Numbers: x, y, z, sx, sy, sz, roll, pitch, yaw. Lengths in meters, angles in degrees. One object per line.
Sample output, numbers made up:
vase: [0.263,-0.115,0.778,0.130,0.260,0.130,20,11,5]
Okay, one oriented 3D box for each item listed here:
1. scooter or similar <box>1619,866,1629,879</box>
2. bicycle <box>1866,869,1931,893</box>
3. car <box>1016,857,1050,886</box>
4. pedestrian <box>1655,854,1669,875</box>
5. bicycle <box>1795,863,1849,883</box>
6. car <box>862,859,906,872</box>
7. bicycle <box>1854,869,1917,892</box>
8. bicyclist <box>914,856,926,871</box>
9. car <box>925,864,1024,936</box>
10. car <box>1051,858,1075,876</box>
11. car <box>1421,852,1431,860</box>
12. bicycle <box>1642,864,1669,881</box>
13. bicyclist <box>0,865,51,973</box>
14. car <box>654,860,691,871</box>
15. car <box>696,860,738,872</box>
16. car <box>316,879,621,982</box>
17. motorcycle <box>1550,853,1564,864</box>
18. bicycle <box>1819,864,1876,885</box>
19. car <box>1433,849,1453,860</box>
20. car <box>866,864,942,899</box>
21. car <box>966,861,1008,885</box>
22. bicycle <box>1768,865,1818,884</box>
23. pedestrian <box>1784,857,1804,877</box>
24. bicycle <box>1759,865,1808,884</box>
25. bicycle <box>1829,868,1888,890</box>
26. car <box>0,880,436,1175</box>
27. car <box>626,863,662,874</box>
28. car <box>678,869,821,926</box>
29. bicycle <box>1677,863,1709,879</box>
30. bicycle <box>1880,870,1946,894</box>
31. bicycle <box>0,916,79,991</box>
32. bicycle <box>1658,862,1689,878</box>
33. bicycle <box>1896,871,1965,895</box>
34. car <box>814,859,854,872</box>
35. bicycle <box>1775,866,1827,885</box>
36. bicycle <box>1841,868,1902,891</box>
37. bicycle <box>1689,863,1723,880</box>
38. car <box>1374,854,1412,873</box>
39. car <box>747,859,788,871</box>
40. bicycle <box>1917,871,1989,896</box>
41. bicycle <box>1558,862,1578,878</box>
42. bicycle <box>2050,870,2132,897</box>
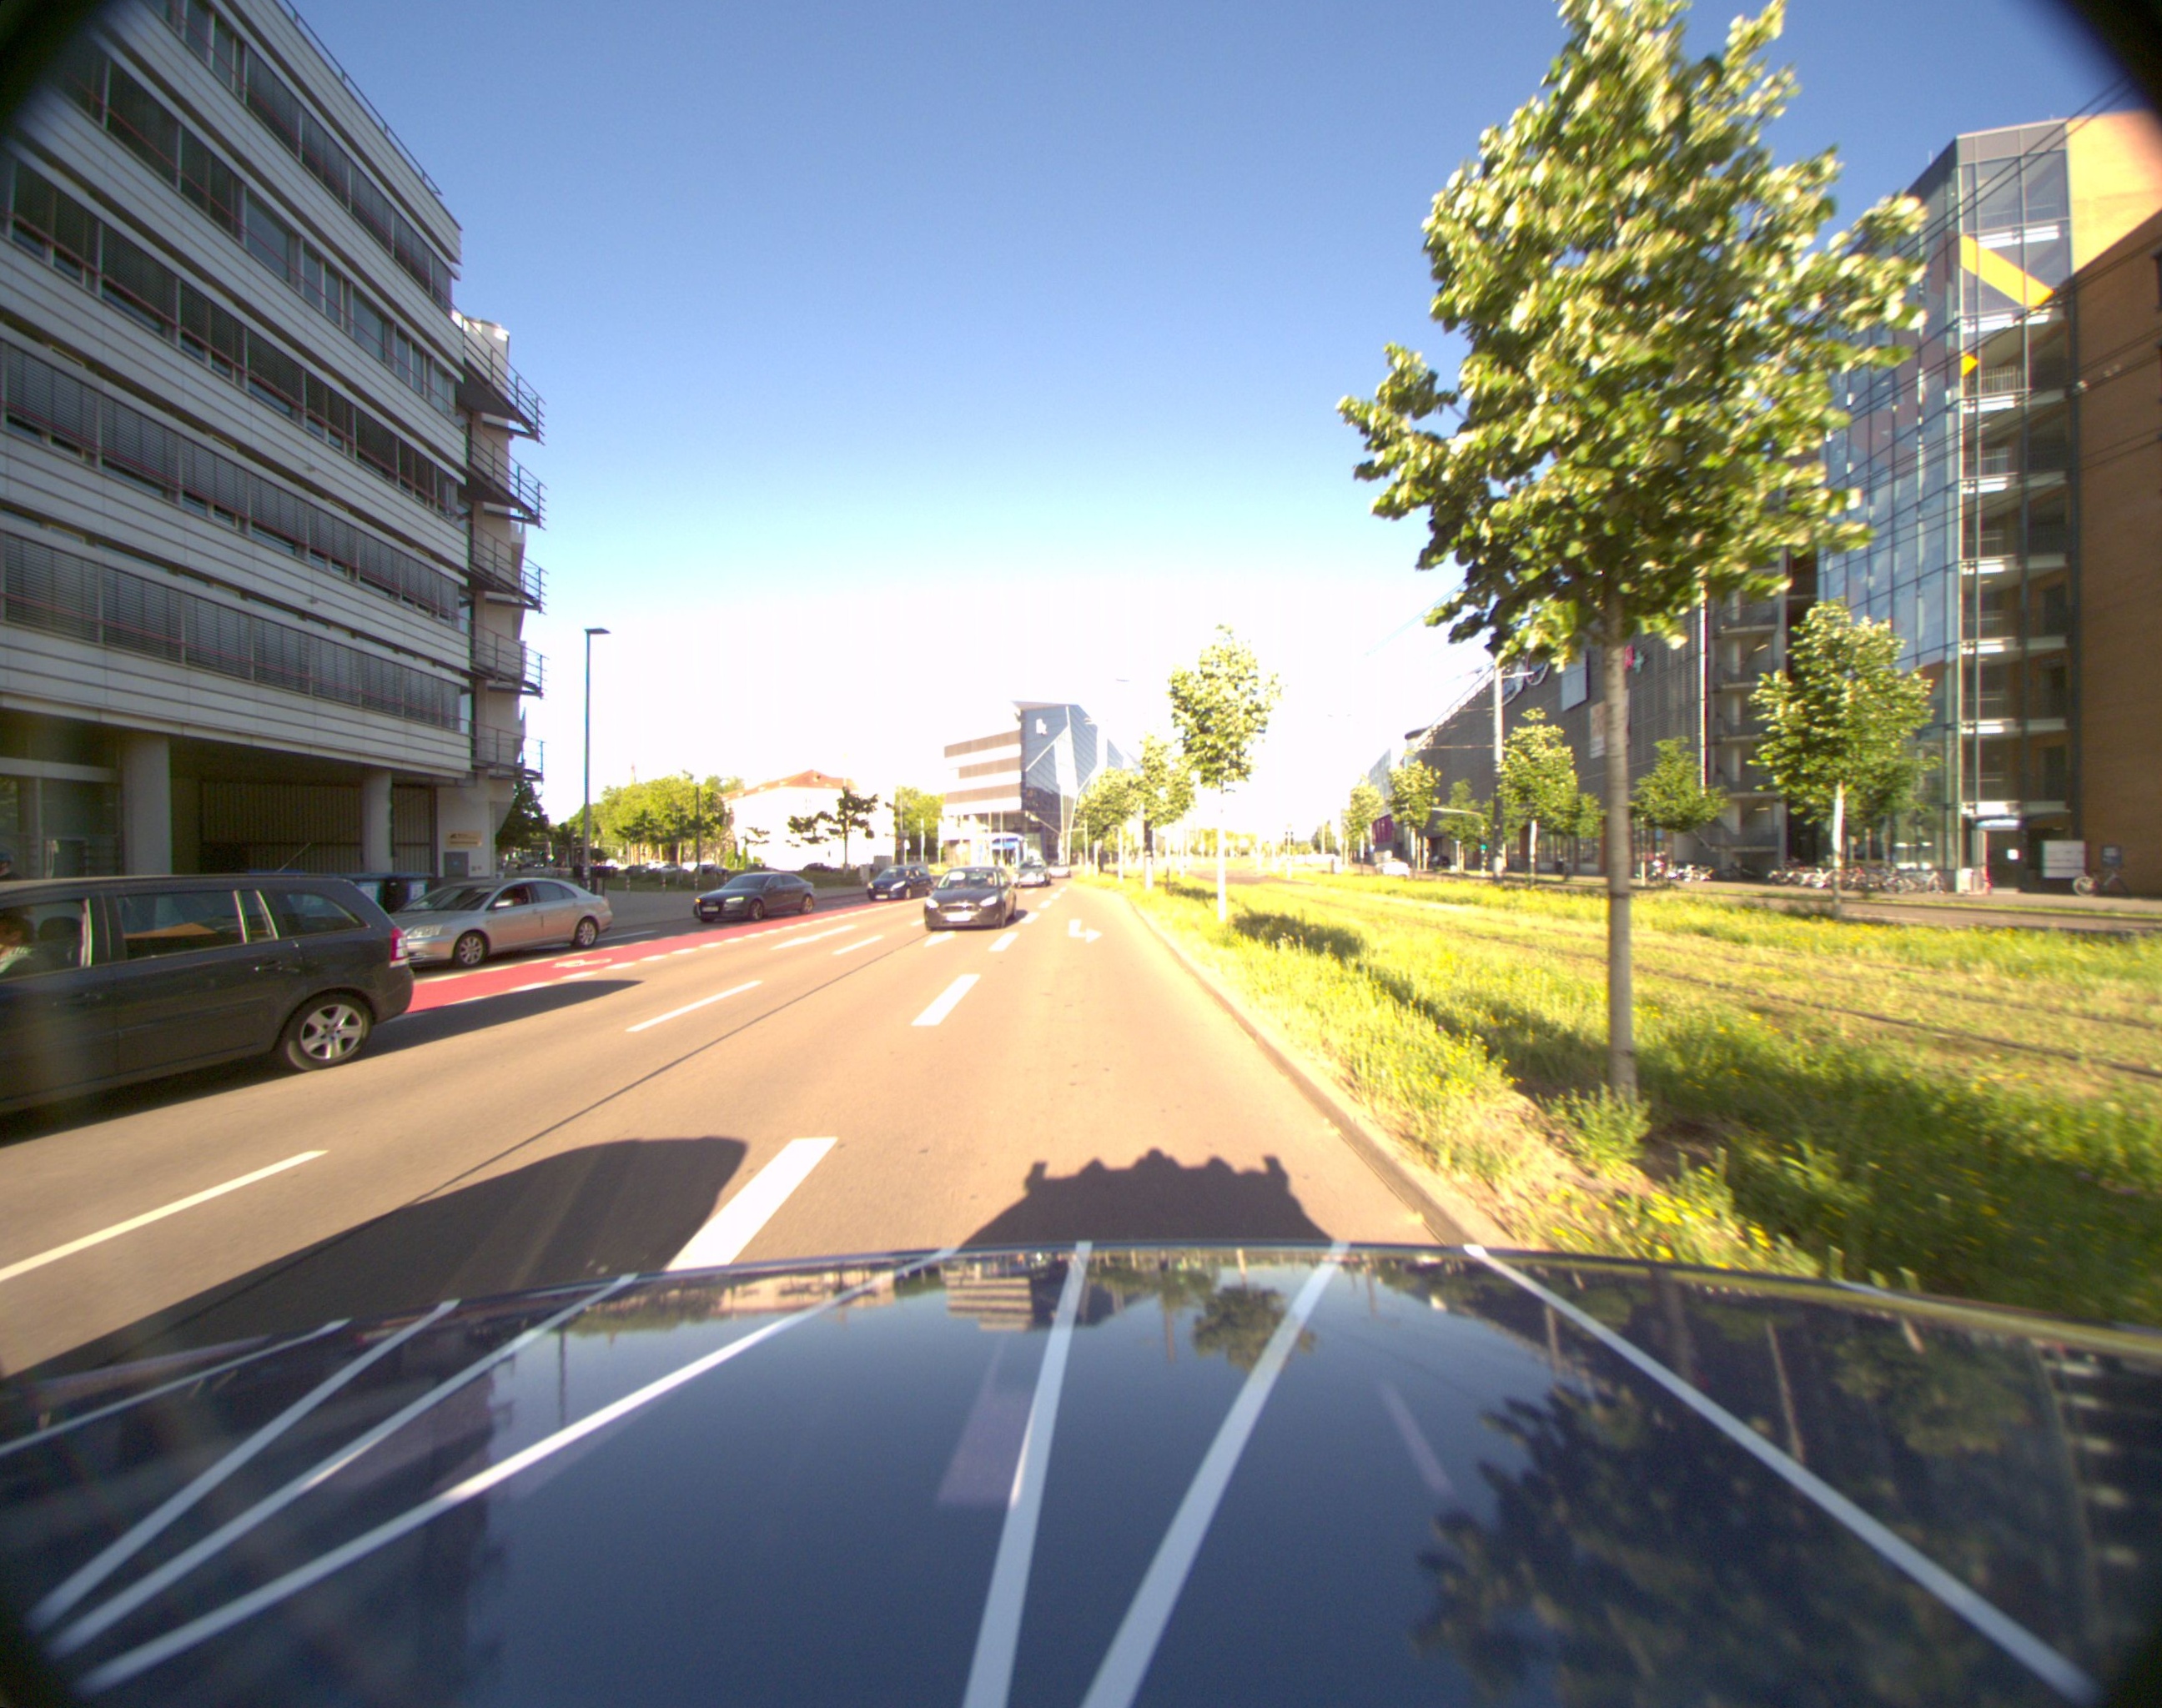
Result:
scooter or similar: [37.769,1.273,52.873,0.290,0.888,0.902,0,1,15]
bicycle: [33.383,1.104,31.043,1.768,0.921,0.565,0,1,15]
car: [-2.644,0.959,42.495,1.749,1.496,3.879,-1,0,-2]
pedestrian: [35.921,0.641,46.982,0.448,1.282,0.630,0,1,11]
bicycle: [34.315,0.880,35.187,1.768,0.921,0.491,0,1,15]
car: [-22.188,1.338,85.594,4.286,1.414,2.003,-1,0,18]
bicycle: [33.556,1.093,31.718,1.768,0.921,0.565,0,1,15]
bicyclist: [-17.214,1.045,81.290,1.006,1.598,0.880,-1,1,11]
car: [-2.459,1.021,18.497,1.689,1.425,4.153,-1,1,1]
car: [-1.478,1.091,64.106,1.620,1.421,3.768,-2,0,5]
car: [60.965,0.430,134.280,1.688,1.364,3.596,0,0,24]
bicycle: [30.452,0.982,40.276,0.386,0.863,1.773,0,0,11]
bicyclist: [-16.014,0.952,11.038,0.626,1.557,1.044,-1,1,4]
car: [-50.508,1.406,93.952,3.990,1.237,2.003,-1,0,24]
car: [-43.827,1.432,91.455,4.515,1.414,2.003,-1,1,20]
car: [-10.812,1.259,13.955,1.754,1.423,4.489,-1,0,4]
motorcycle: [39.256,0.372,62.679,0.428,0.914,2.026,-1,0,14]
bicycle: [34.063,0.924,33.776,1.768,0.921,0.491,0,1,15]
car: [49.499,0.053,104.003,1.583,1.521,3.753,-2,1,10]
car: [-7.856,1.208,34.088,1.734,1.437,4.004,-1,-1,12]
car: [-5.838,1.174,47.767,1.438,1.437,4.004,0,0,11]
bicycle: [34.738,1.016,37.103,1.768,0.921,0.491,0,1,15]
pedestrian: [38.508,0.700,41.026,0.629,1.048,0.450,0,1,11]
bicycle: [34.870,1.012,37.729,1.768,0.921,0.491,0,1,15]
bicycle: [33.878,1.072,33.135,1.768,0.921,0.565,0,1,15]
car: [-7.115,1.075,4.855,1.691,1.619,4.466,-1,0,10]
car: [-55.543,1.843,96.543,3.990,1.368,1.938,-1,1,24]
car: [-9.824,1.251,22.923,1.712,1.433,4.116,-1,0,15]
bicycle: [35.482,0.968,44.052,1.398,0.921,0.462,0,1,15]
bicycle: [33.200,1.115,30.343,1.768,0.921,0.565,0,1,15]
bicycle: [-16.058,1.492,10.828,0.500,1.026,2.206,-1,0,4]
bicycle: [35.375,0.946,45.383,1.398,0.921,0.462,0,1,15]
bicycle: [32.985,1.127,29.533,1.768,0.921,0.565,0,1,15]
car: [-28.319,1.341,87.094,3.991,1.414,2.003,-1,1,18]
bicycle: [34.542,1.027,36.455,1.768,0.921,0.565,0,1,15]
bicycle: [33.695,1.084,32.413,1.768,0.921,0.565,0,1,15]
bicycle: [35.079,0.992,42.645,1.398,0.921,0.462,0,1,15]
car: [22.958,0.651,56.070,1.809,1.320,4.408,0,1,11]
car: [-36.888,1.314,89.398,3.991,1.414,2.003,-1,1,18]
bicycle: [32.735,1.113,28.557,1.768,0.921,0.565,0,1,15]
bicycle: [29.163,0.940,45.507,0.386,0.918,1.773,0,0,11]
bicycle: [35.830,1.047,26.971,1.768,0.921,0.565,0,1,15]
